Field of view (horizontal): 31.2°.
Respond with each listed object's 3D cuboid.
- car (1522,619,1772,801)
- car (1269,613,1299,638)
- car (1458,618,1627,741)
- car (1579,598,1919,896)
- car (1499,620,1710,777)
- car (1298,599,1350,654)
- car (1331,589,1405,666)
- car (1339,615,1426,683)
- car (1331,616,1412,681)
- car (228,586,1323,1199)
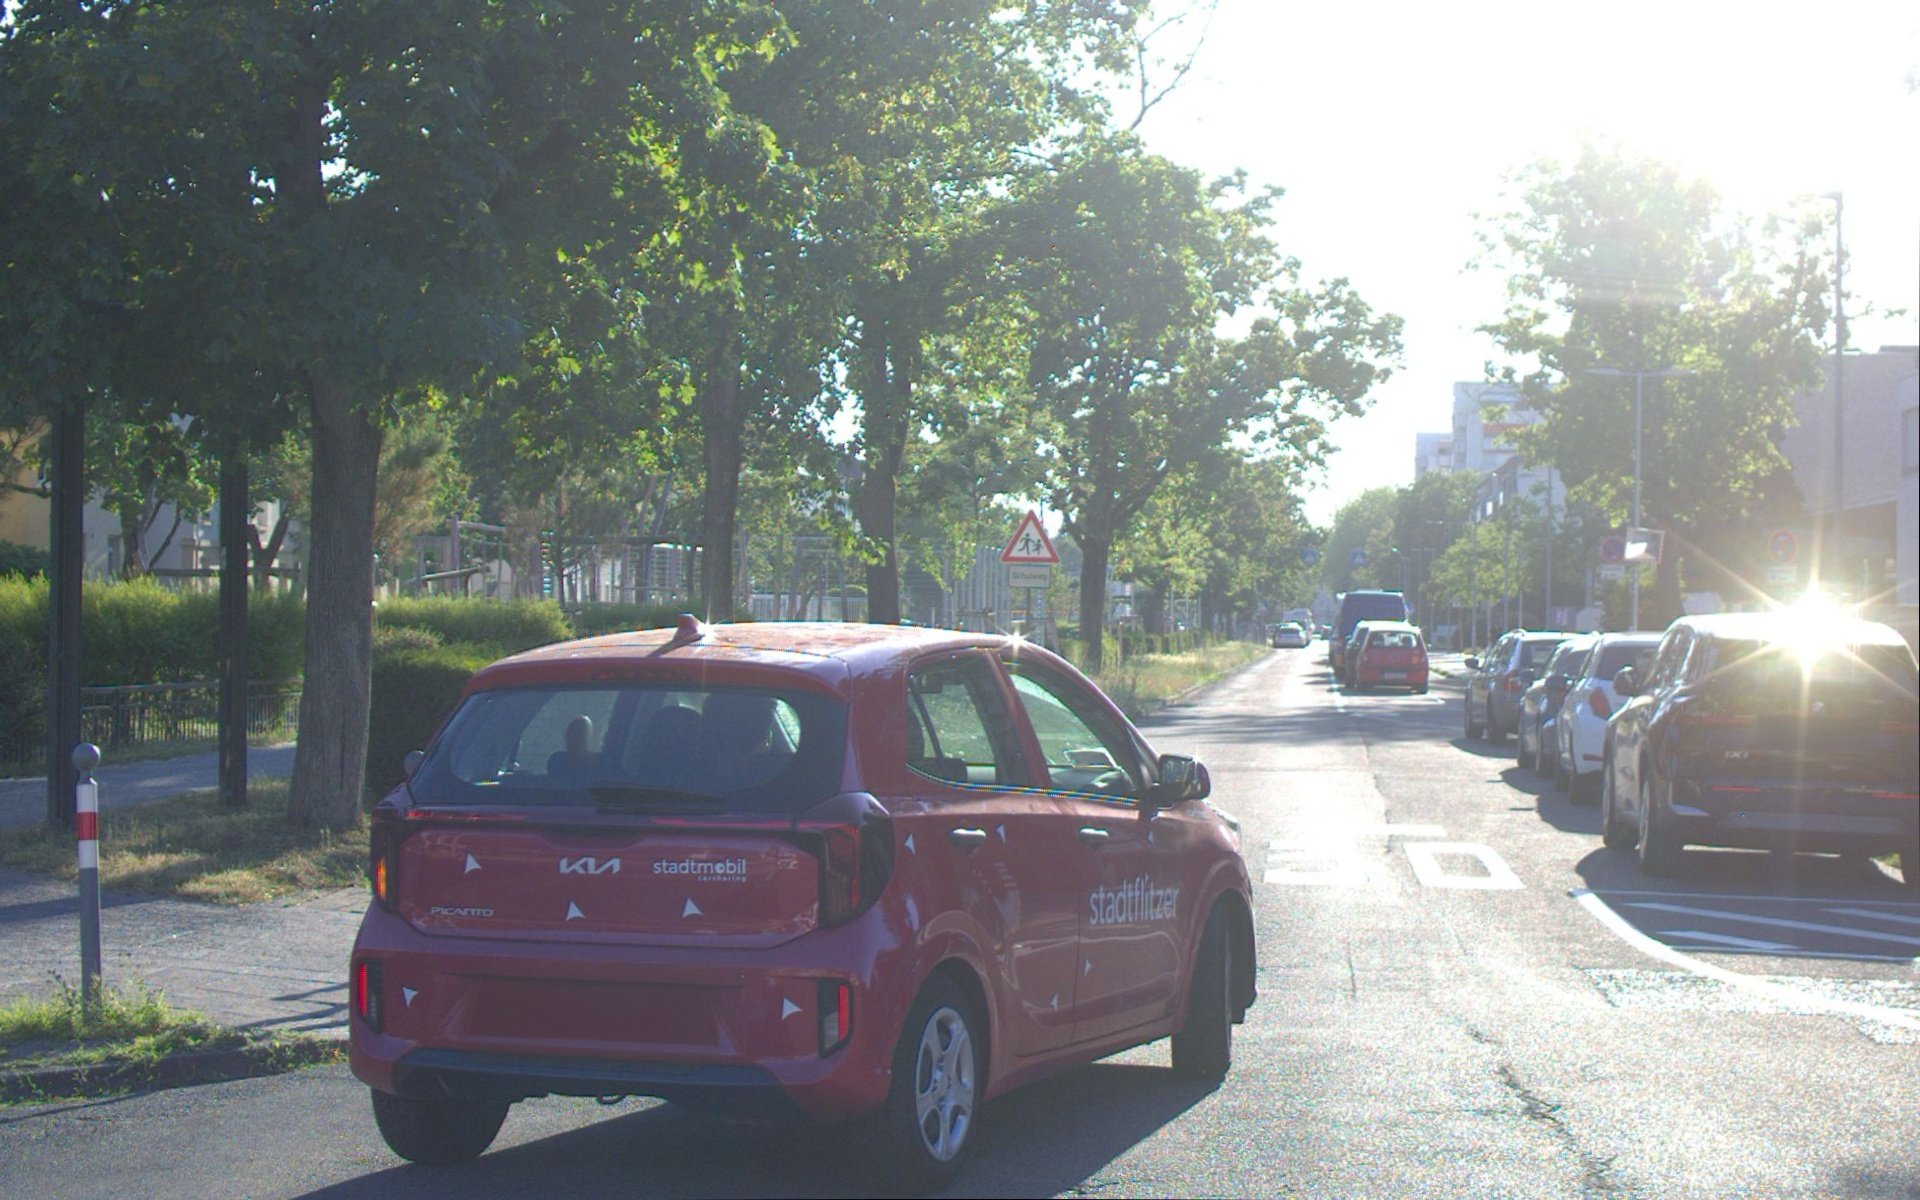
[{"bbox_3d":[6.076,0.935,30.771,1.765,1.521,3.772,0,0,5],"label":"car"},{"bbox_3d":[21.354,1.682,226.727,1.866,1.612,3.999,1,0,5],"label":"car"},{"bbox_3d":[7.553,1.003,44.828,1.765,1.521,3.772,0,0,3],"label":"car"},{"bbox_3d":[5.110,0.872,22.014,1.817,1.636,4.215,3,0,5],"label":"car"},{"bbox_3d":[6.625,0.977,35.645,1.730,1.513,3.759,1,0,4],"label":"car"},{"bbox_3d":[14.322,1.020,135.225,1.994,2.116,3.999,1,0,6],"label":"car"},{"bbox_3d":[11.496,0.768,97.113,1.994,2.116,3.999,1,0,6],"label":"car"},{"bbox_3d":[9.754,1.114,79.553,1.757,1.513,3.759,1,0,3],"label":"car"},{"bbox_3d":[10.014,1.168,83.900,1.730,1.513,3.759,1,0,3],"label":"car"},{"bbox_3d":[-0.342,0.740,10.380,1.767,1.521,3.768,-1,0,24],"label":"car"}]
